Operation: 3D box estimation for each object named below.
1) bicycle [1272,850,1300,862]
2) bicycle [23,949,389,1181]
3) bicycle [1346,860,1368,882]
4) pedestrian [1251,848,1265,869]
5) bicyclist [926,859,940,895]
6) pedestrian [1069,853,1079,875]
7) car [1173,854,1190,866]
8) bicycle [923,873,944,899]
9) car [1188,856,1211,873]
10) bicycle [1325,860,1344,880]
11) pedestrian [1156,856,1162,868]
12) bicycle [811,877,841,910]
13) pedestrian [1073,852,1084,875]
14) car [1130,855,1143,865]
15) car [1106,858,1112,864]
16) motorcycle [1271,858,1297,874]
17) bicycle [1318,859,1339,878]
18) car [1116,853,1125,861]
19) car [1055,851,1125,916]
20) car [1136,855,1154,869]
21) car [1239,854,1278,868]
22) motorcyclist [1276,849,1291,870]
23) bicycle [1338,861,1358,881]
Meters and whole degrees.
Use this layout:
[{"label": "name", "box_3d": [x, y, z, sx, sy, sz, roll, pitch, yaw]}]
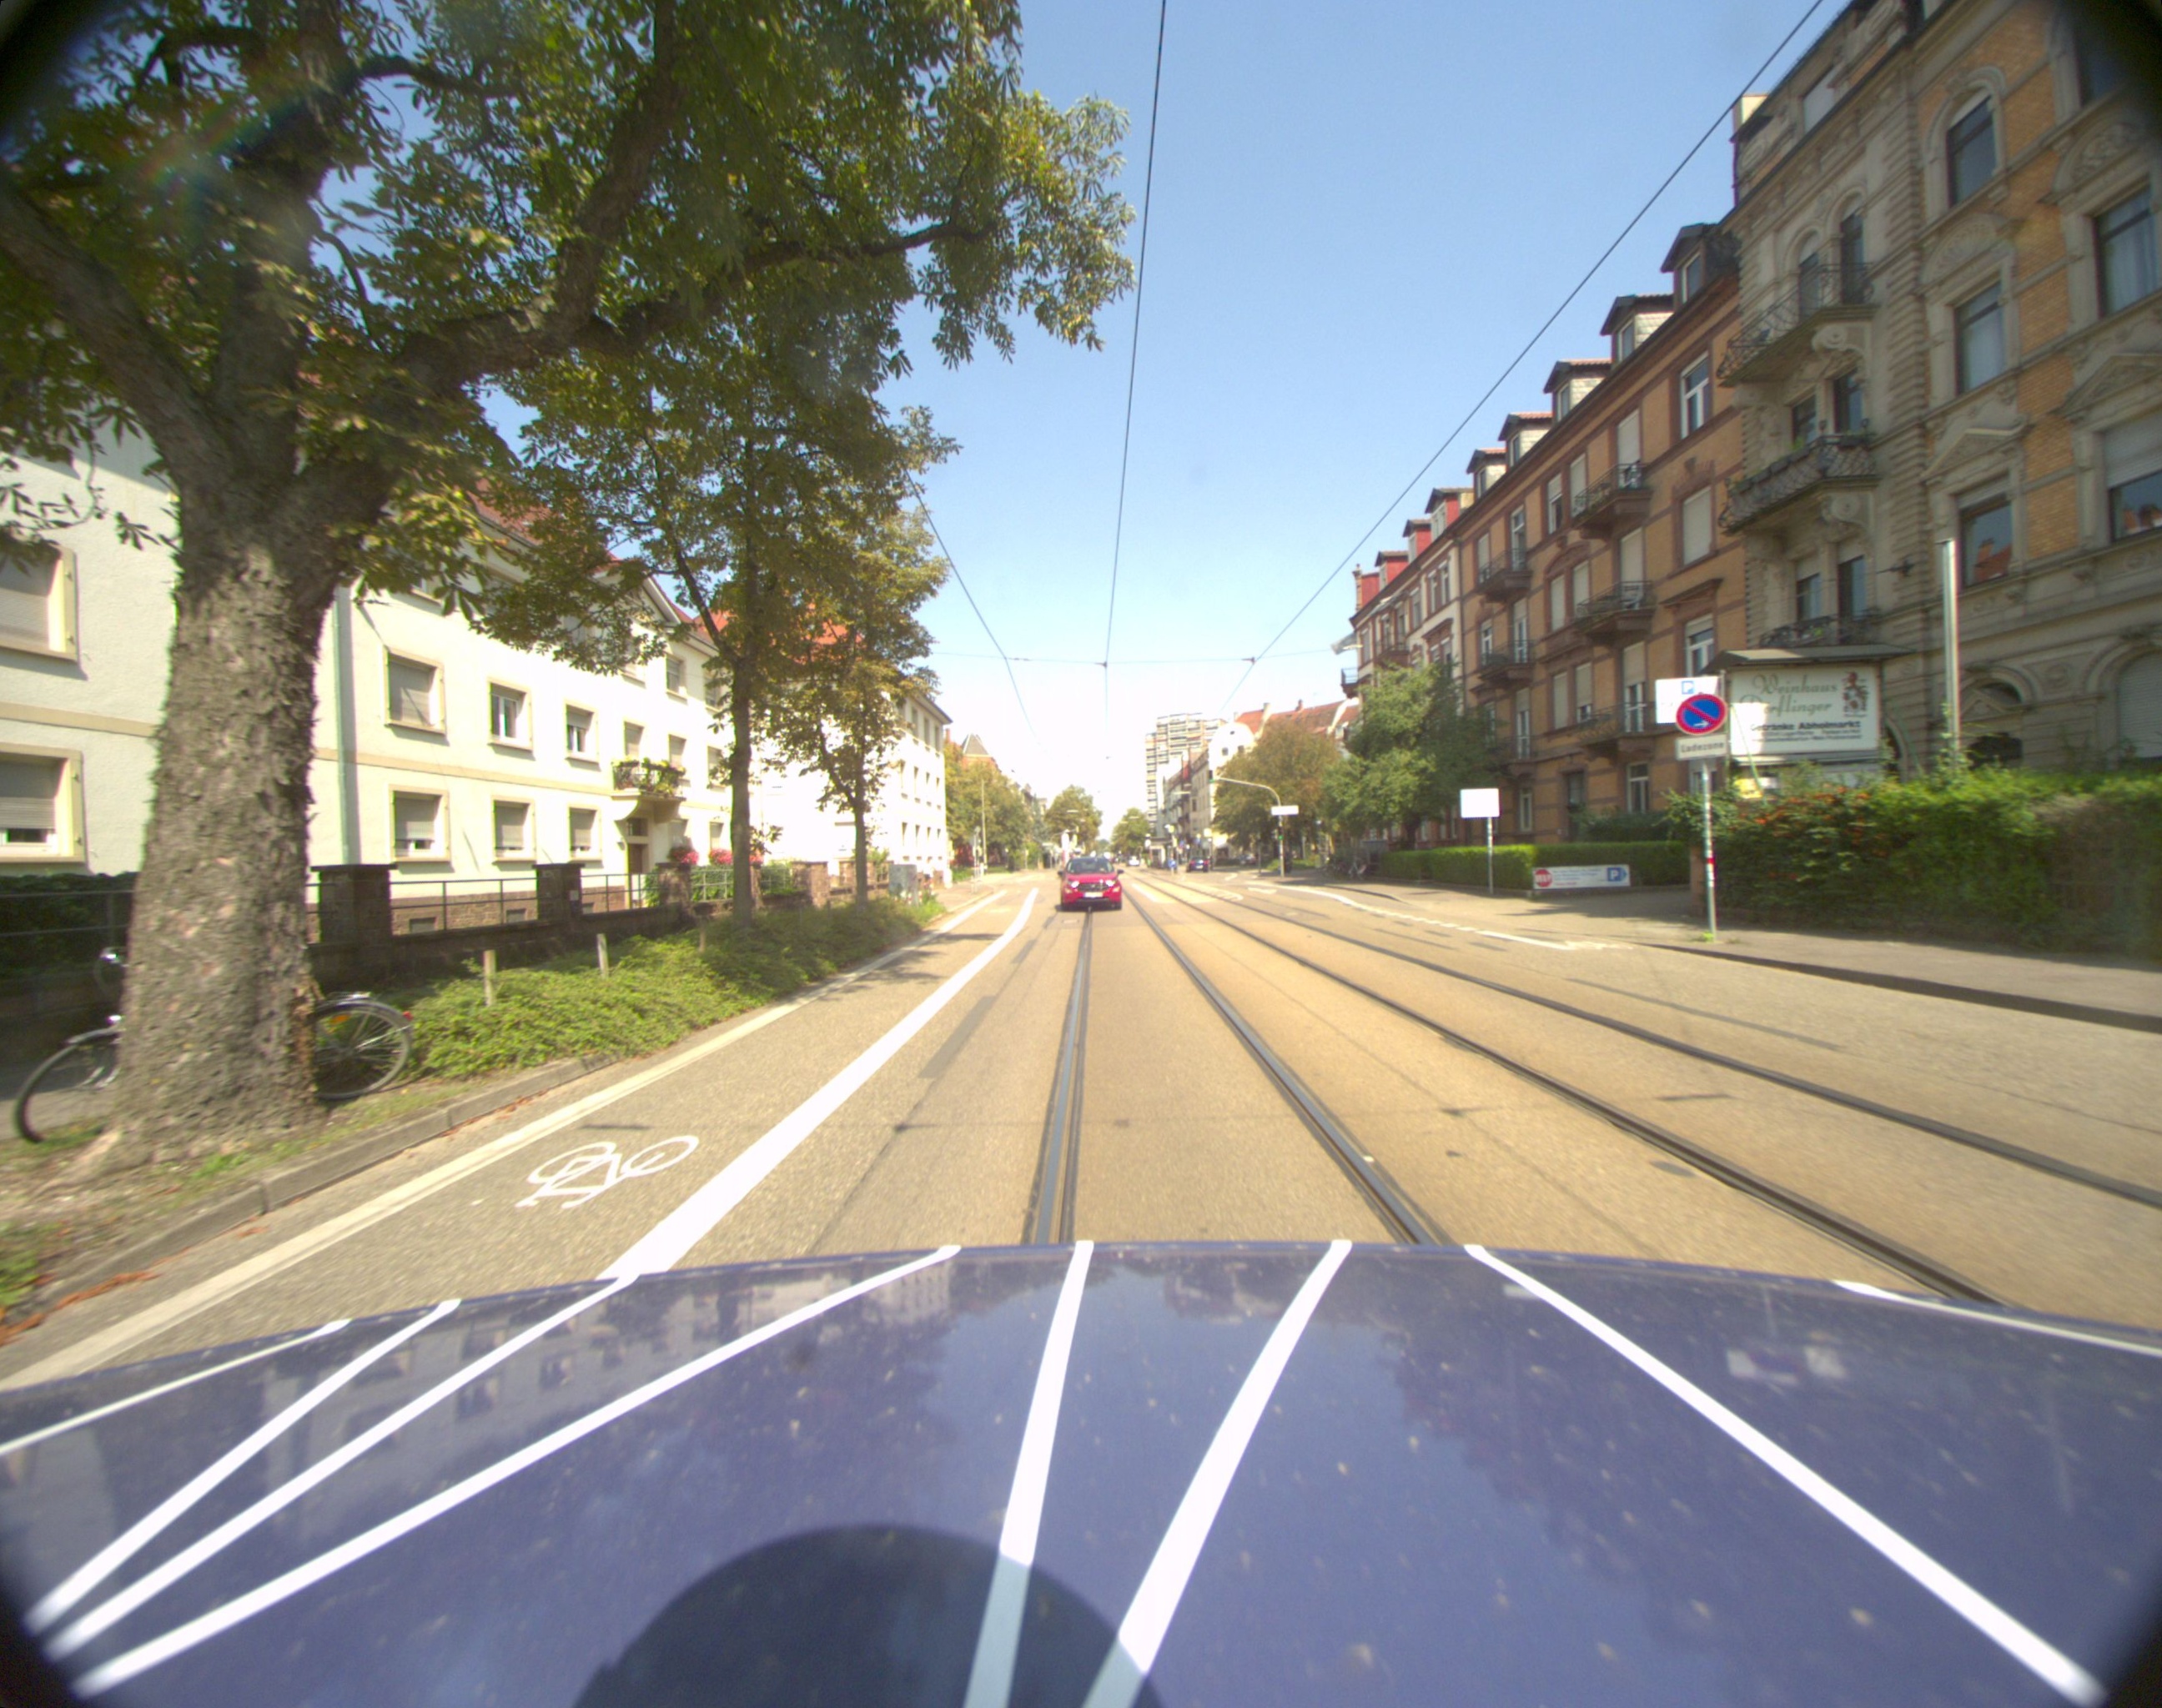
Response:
[{"label": "bicycle", "box_3d": [24.660, 0.246, 91.505, 1.224, 1.428, 3.478, -2, 0, -28]}, {"label": "bicycle", "box_3d": [-5.263, 1.218, 4.689, 1.395, 1.102, 0.388, -2, 0, -34]}, {"label": "bicycle", "box_3d": [12.610, 0.776, 34.770, 0.488, 0.980, 1.657, -2, 0, 4]}, {"label": "pedestrian", "box_3d": [17.973, 0.429, 77.013, 1.094, 2.002, 1.036, -3, 1, 1]}, {"label": "bicyclist", "box_3d": [-6.291, 0.966, 32.334, 0.438, 1.503, 0.472, -2, 1, 2]}, {"label": "pedestrian", "box_3d": [-0.668, 0.902, 68.952, 0.674, 1.874, 0.924, -2, 0, 12]}, {"label": "car", "box_3d": [14.676, 0.830, 110.756, 1.998, 1.716, 4.631, -1, 0, 2]}, {"label": "bicycle", "box_3d": [-6.276, 1.350, 32.329, 0.441, 1.041, 1.829, -2, 0, 3]}, {"label": "car", "box_3d": [10.653, 0.890, 68.375, 1.730, 1.425, 4.178, -2, 0, 5]}, {"label": "bicycle", "box_3d": [13.139, 0.807, 39.360, 0.488, 1.015, 1.778, -2, 0, 4]}, {"label": "pedestrian", "box_3d": [8.149, 0.820, 79.225, 0.479, 1.243, 0.648, -2, 0, 2]}, {"label": "bicycle", "box_3d": [-9.025, 1.379, 26.936, 0.441, 1.041, 1.828, -2, 0, -2]}, {"label": "pedestrian", "box_3d": [-0.188, 0.798, 62.721, 0.676, 1.874, 0.922, -2, 0, -13]}, {"label": "car", "box_3d": [9.362, 1.033, 128.772, 1.998, 1.716, 4.632, -1, 0, 3]}, {"label": "car", "box_3d": [8.961, 2.277, 242.326, 1.998, 1.716, 4.631, -1, 0, 2]}, {"label": "motorcycle", "box_3d": [14.929, 0.880, 55.857, 2.161, 1.025, 0.692, -2, 0, -38]}, {"label": "bicycle", "box_3d": [14.133, 0.810, 43.410, 0.487, 0.991, 1.833, -2, 0, 39]}, {"label": "car", "box_3d": [9.491, 0.714, 184.237, 1.998, 1.716, 4.631, -1, 0, 2]}, {"label": "car", "box_3d": [0.180, 0.831, 23.525, 1.803, 1.801, 4.414, 0, 0, -4]}, {"label": "car", "box_3d": [8.114, 0.973, 96.770, 1.998, 1.716, 4.632, -1, 0, 3]}, {"label": "car", "box_3d": [23.032, 0.872, 98.819, 2.004, 1.716, 4.618, -1, 0, -45]}, {"label": "motorcyclist", "box_3d": [14.835, 0.435, 55.787, 0.774, 1.502, 0.690, -2, 0, -38]}, {"label": "bicycle", "box_3d": [12.816, 0.813, 36.483, 0.488, 0.936, 1.657, -2, 0, 4]}]
